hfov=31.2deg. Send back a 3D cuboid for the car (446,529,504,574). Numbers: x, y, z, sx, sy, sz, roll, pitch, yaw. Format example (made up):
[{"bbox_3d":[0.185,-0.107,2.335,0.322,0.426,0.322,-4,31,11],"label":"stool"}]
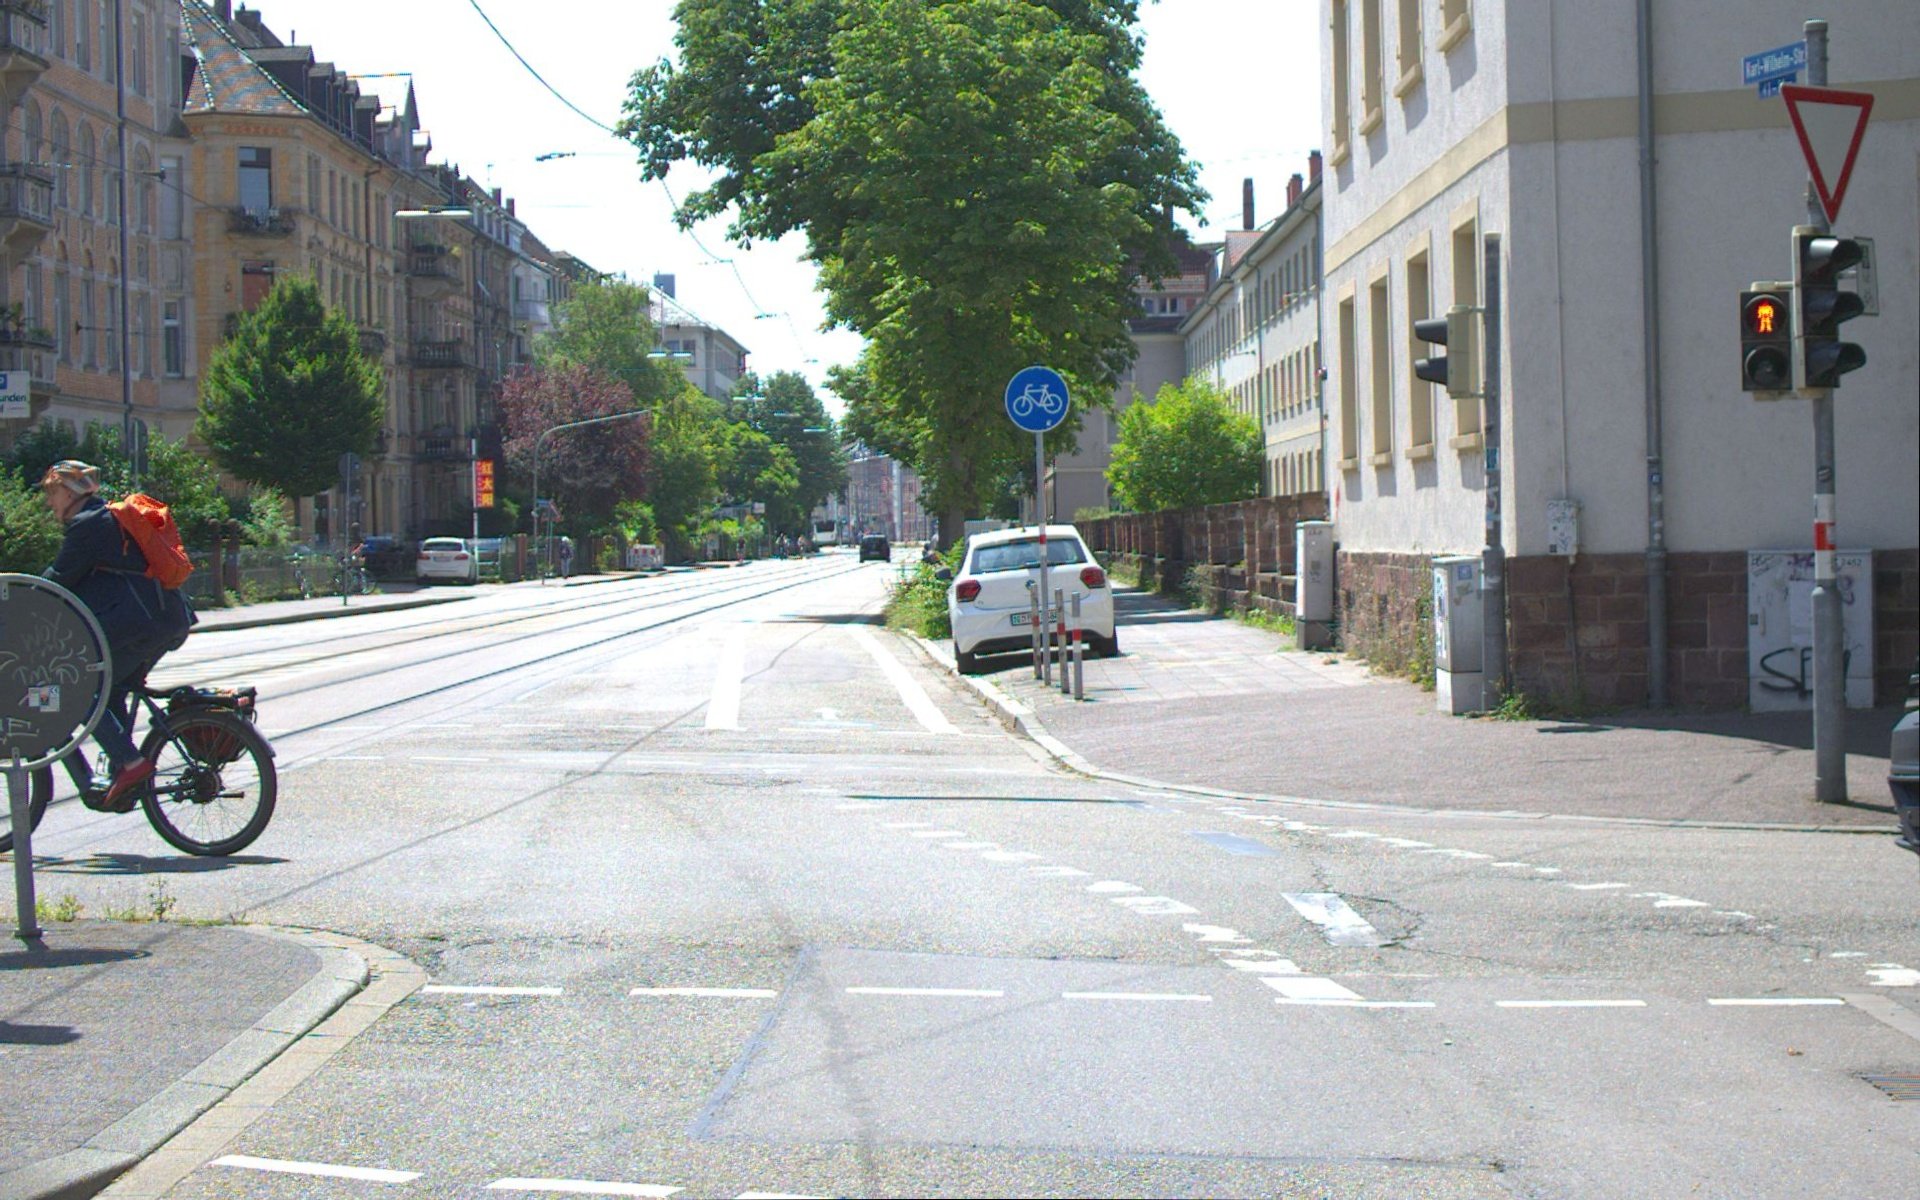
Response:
[{"bbox_3d":[-17.375,-1.725,123.188,1.628,1.467,3.564,-4,1,-3],"label":"car"}]

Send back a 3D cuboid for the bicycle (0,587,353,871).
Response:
[{"bbox_3d":[-3.819,0.562,15.601,2.083,1.232,0.580,0,1,20],"label":"bicycle"}]

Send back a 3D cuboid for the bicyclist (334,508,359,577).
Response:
[{"bbox_3d":[-15.727,-1.472,88.126,0.542,1.757,0.498,0,1,-1],"label":"bicyclist"}]

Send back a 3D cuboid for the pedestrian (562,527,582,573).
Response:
[{"bbox_3d":[-14.448,-1.852,128.080,0.678,1.721,0.677,0,1,-1],"label":"pedestrian"}]

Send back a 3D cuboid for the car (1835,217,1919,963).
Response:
[{"bbox_3d":[6.059,-0.065,11.239,5.843,2.581,1.996,0,1,34],"label":"car"}]

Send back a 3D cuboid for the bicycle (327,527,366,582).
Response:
[{"bbox_3d":[-15.736,-1.160,88.176,0.577,1.383,2.501,0,1,-1],"label":"bicycle"}]

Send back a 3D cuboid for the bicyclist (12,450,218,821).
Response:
[{"bbox_3d":[-3.826,0.154,15.588,0.694,1.640,0.580,0,1,20],"label":"bicyclist"}]

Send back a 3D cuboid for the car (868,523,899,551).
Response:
[{"bbox_3d":[-4.150,-3.408,185.813,1.525,1.439,3.365,-2,1,0],"label":"car"}]

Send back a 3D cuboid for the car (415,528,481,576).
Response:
[{"bbox_3d":[-17.198,-1.611,115.598,1.684,1.467,3.939,-4,1,-3],"label":"car"}]

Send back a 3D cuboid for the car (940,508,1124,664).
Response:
[{"bbox_3d":[0.723,-0.170,37.173,1.747,1.467,3.938,-4,1,-1],"label":"car"}]
